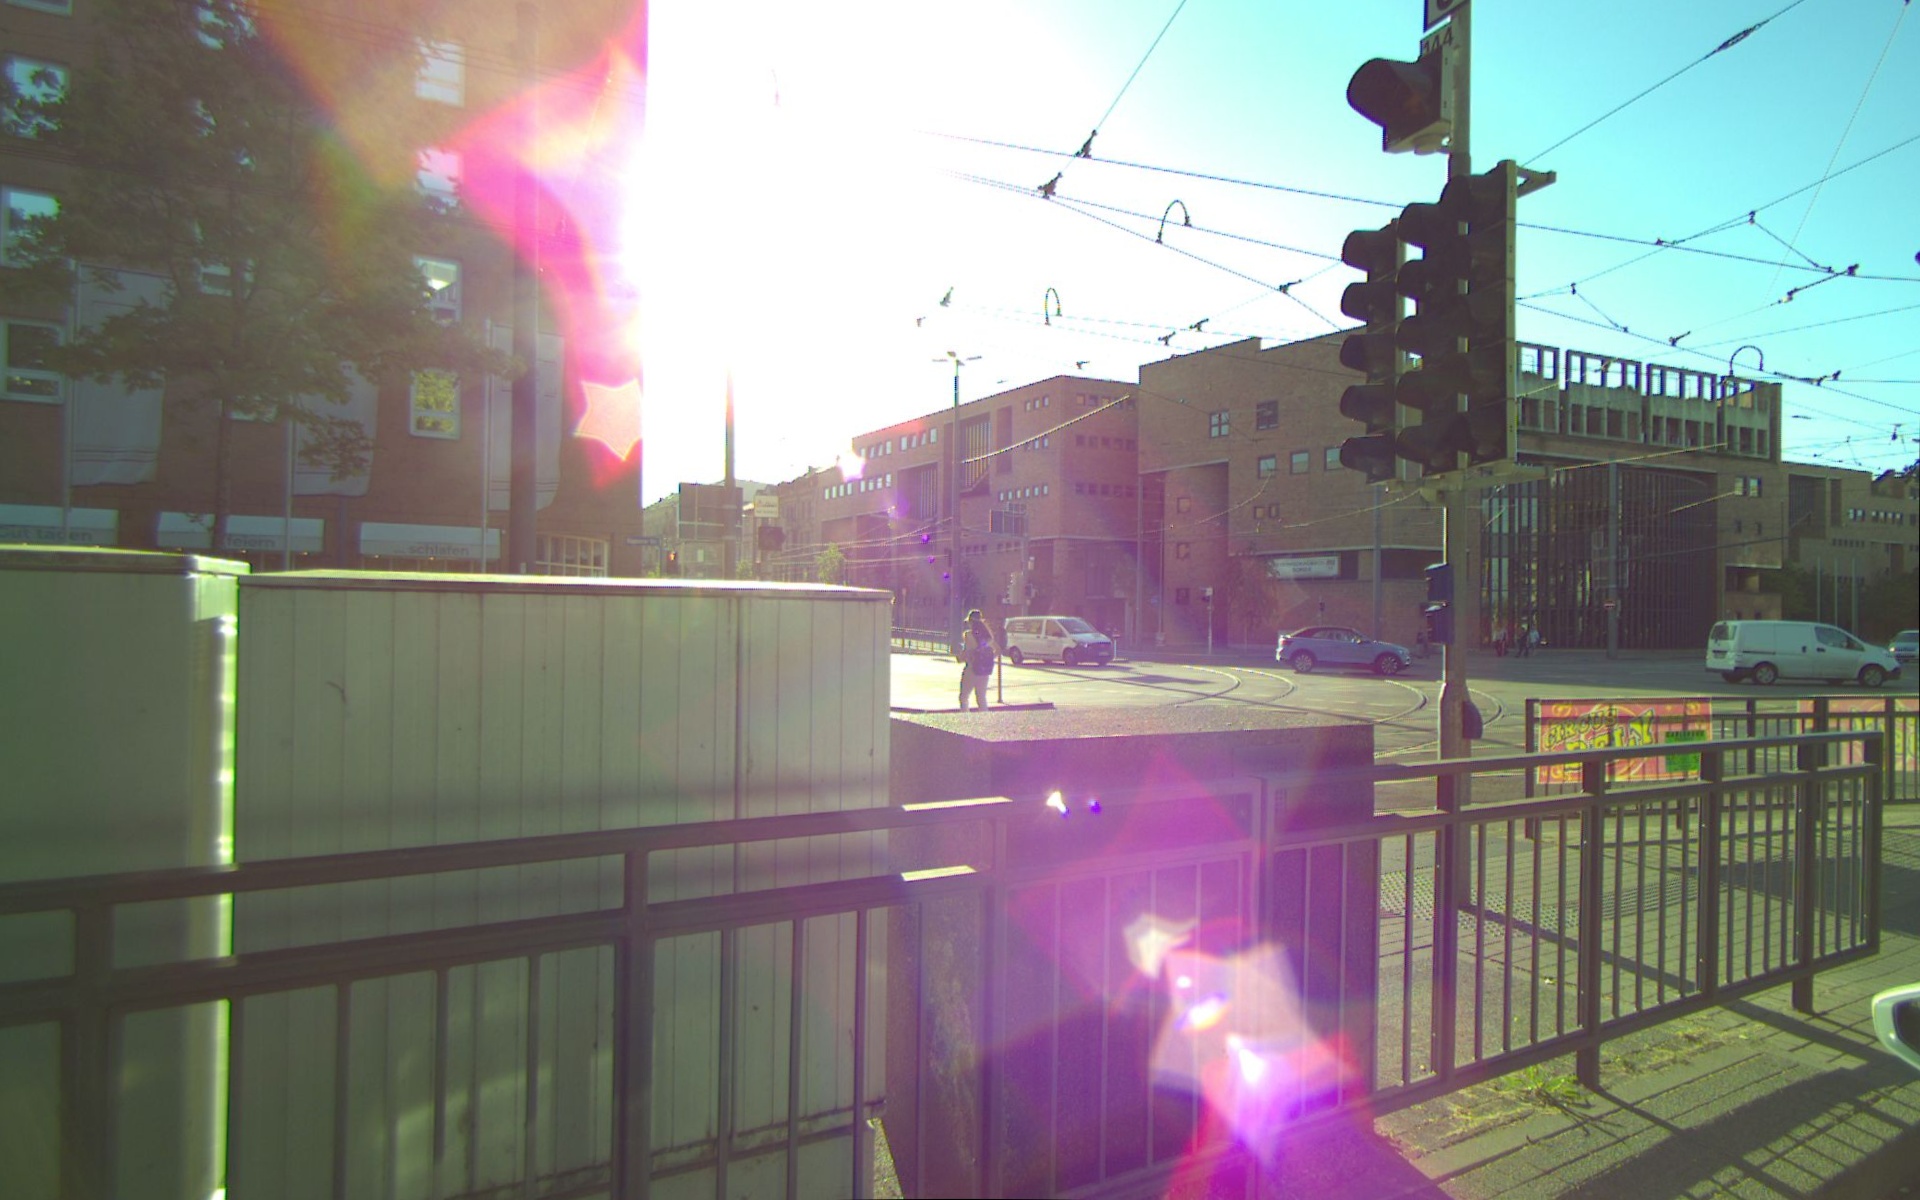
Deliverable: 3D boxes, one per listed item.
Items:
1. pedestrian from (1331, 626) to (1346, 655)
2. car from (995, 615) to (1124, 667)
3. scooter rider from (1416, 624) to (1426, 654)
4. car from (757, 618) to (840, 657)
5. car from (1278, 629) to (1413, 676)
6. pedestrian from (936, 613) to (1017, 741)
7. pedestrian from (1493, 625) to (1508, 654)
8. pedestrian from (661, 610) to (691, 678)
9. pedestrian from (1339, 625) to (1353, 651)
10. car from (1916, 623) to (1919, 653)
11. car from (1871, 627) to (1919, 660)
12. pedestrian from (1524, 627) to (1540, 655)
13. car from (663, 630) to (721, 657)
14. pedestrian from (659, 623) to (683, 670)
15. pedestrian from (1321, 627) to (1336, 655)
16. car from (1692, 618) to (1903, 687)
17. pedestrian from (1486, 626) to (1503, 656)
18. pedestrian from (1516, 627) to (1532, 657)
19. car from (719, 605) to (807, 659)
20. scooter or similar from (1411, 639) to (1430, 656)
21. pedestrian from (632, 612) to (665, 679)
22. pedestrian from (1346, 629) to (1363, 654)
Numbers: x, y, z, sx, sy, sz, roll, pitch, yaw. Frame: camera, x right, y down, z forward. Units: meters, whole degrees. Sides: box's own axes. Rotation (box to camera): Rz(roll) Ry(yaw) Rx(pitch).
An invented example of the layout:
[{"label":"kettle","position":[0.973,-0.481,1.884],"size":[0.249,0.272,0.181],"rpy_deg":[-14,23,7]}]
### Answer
[{"label":"pedestrian","position":[21.703,2.324,57.555],"size":[0.543,1.670,0.596],"rpy_deg":[1,-1,-30]},{"label":"car","position":[3.799,1.562,39.332],"size":[1.950,1.873,5.273],"rpy_deg":[1,-2,-38]},{"label":"scooter rider","position":[25.409,2.159,55.377],"size":[0.429,1.669,0.229],"rpy_deg":[0,-1,15]},{"label":"car","position":[-8.354,1.902,51.695],"size":[1.982,1.928,5.156],"rpy_deg":[1,-2,-38]},{"label":"car","position":[12.623,1.691,33.138],"size":[4.020,1.445,1.634],"rpy_deg":[0,-1,16]},{"label":"pedestrian","position":[0.215,1.020,13.695],"size":[0.709,1.669,0.953],"rpy_deg":[1,-1,-30]},{"label":"pedestrian","position":[32.042,2.314,59.549],"size":[0.542,1.706,0.570],"rpy_deg":[1,-1,-28]},{"label":"pedestrian","position":[-7.961,1.217,28.165],"size":[0.647,1.864,0.835],"rpy_deg":[1,-1,-28]},{"label":"pedestrian","position":[22.548,2.225,58.660],"size":[0.611,1.473,0.562],"rpy_deg":[2,-2,-45]},{"label":"car","position":[55.241,2.112,55.888],"size":[3.954,1.661,1.983],"rpy_deg":[1,-2,-31]},{"label":"car","position":[48.972,2.224,51.774],"size":[3.954,1.661,1.983],"rpy_deg":[1,-2,-31]},{"label":"pedestrian","position":[33.263,2.371,58.415],"size":[0.610,1.647,0.608],"rpy_deg":[1,-1,-28]},{"label":"car","position":[-14.411,2.304,53.897],"size":[1.729,1.372,3.960],"rpy_deg":[1,-2,-36]},{"label":"pedestrian","position":[-10.510,1.681,36.483],"size":[0.658,1.669,0.638],"rpy_deg":[1,-1,-34]},{"label":"pedestrian","position":[21.463,2.371,58.465],"size":[0.582,1.635,0.593],"rpy_deg":[1,-1,-31]},{"label":"car","position":[24.529,1.505,29.579],"size":[4.433,1.891,1.762],"rpy_deg":[0,-1,13]},{"label":"pedestrian","position":[31.030,2.375,58.279],"size":[0.610,1.706,0.651],"rpy_deg":[0,-1,-3]},{"label":"pedestrian","position":[32.076,2.405,57.143],"size":[0.544,1.706,0.588],"rpy_deg":[1,-1,-27]},{"label":"car","position":[-9.468,1.512,47.949],"size":[1.982,2.419,5.156],"rpy_deg":[1,-2,-38]},{"label":"scooter or similar","position":[25.367,2.636,55.368],"size":[0.931,0.911,0.176],"rpy_deg":[0,-1,14]},{"label":"pedestrian","position":[-8.629,1.251,27.825],"size":[0.713,1.837,0.904],"rpy_deg":[1,-1,-28]},{"label":"pedestrian","position":[22.244,2.336,56.696],"size":[0.670,1.357,0.603],"rpy_deg":[1,-1,-14]}]
